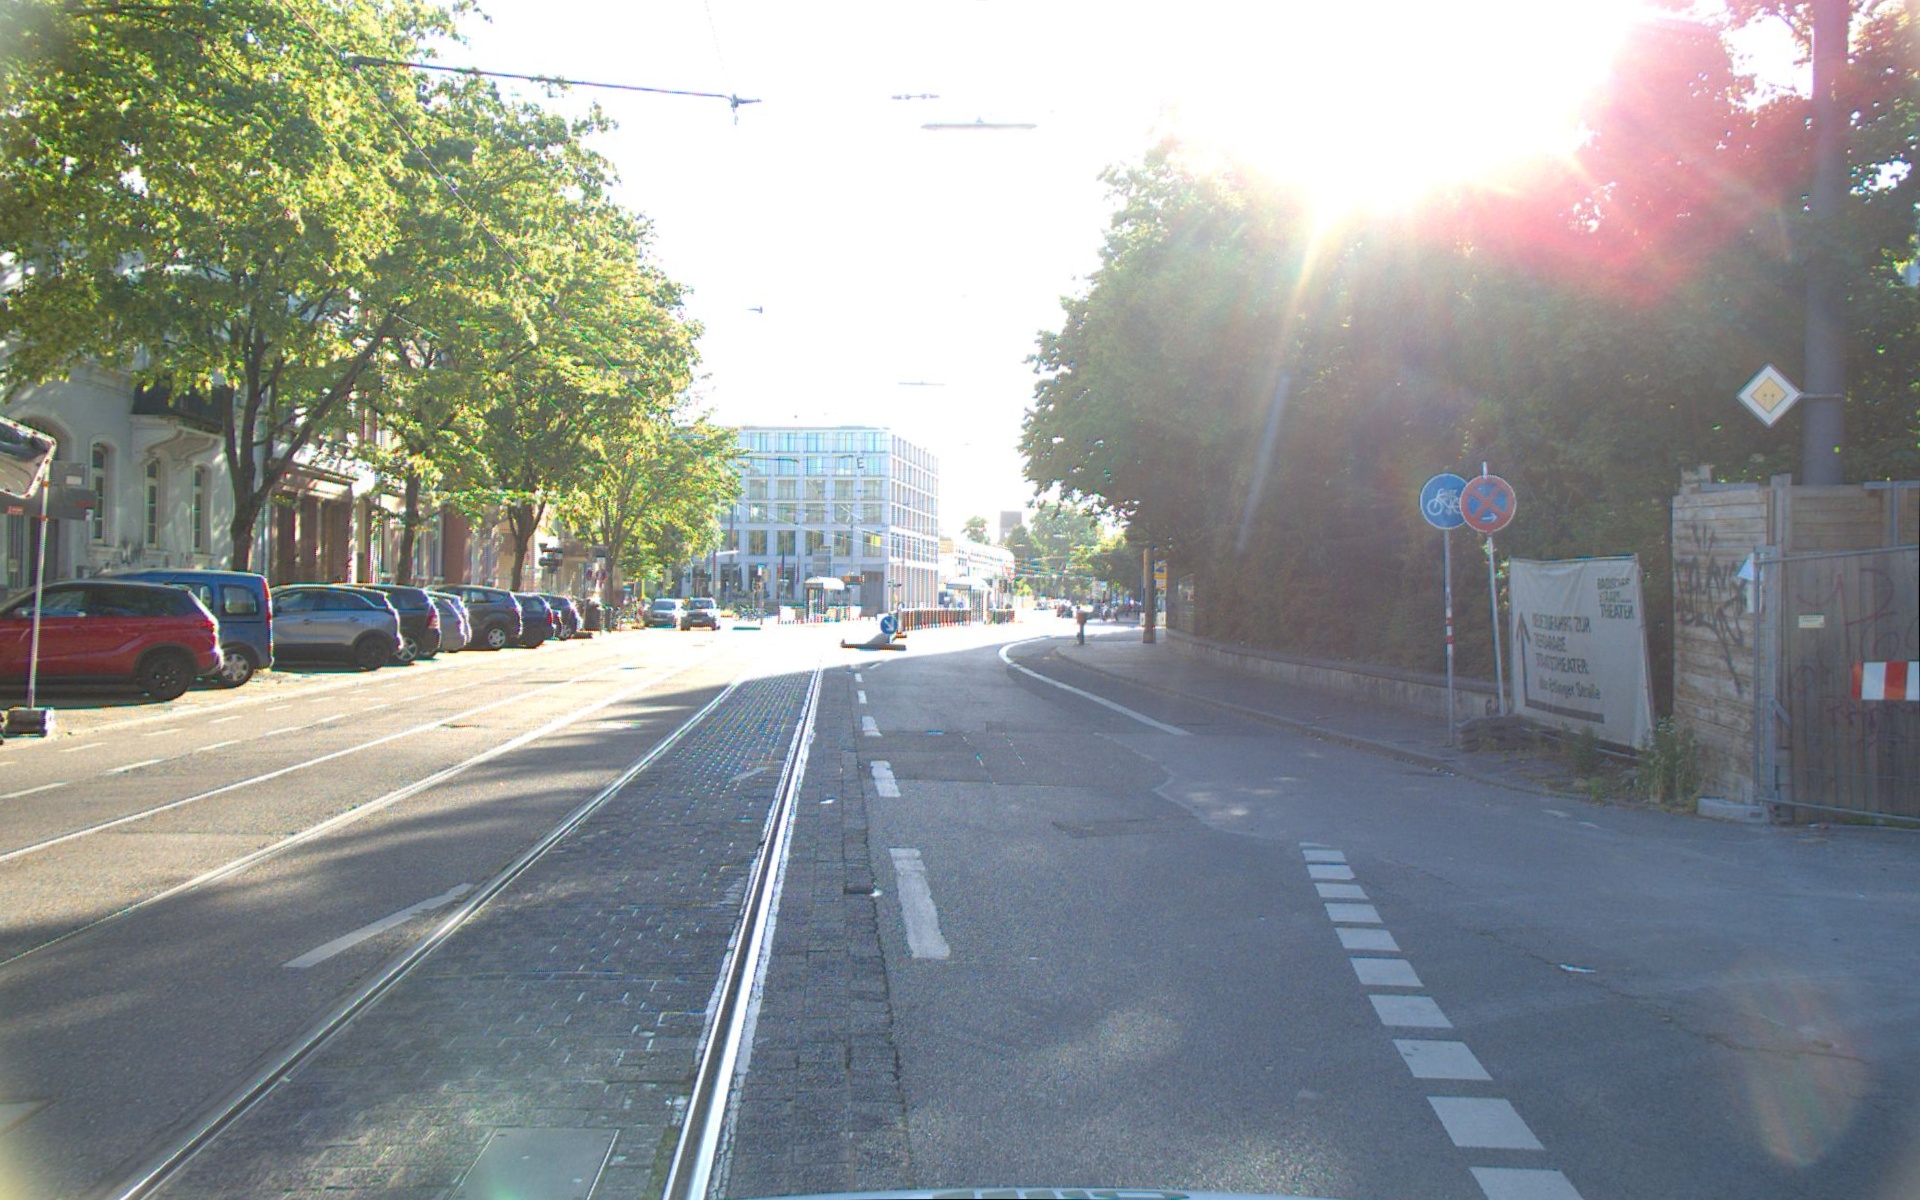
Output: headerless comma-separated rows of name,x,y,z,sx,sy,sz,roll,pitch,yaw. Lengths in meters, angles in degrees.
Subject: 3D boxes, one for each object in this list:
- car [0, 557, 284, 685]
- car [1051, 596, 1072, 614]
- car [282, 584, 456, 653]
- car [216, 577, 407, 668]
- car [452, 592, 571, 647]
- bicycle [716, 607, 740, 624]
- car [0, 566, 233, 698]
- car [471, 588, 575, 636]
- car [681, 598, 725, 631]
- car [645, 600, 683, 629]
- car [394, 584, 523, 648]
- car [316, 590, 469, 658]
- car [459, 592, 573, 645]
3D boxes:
car,-12.920,0.352,26.189,3.795,1.864,1.711,3,-1,-35
car,11.795,0.605,191.716,1.951,2.049,4.004,0,0,10
car,-12.839,0.399,35.964,3.341,1.444,1.390,1,0,-33
car,-12.859,0.443,32.852,3.341,1.727,1.390,1,0,-33
car,-13.417,0.585,49.475,3.232,1.613,1.458,1,0,-27
bicycle,-17.288,1.141,123.134,1.762,1.245,0.597,1,0,-13
car,-12.515,0.431,23.128,4.119,1.751,1.566,1,0,-32
car,-14.941,0.414,56.609,3.232,1.613,1.458,1,0,-27
car,-12.818,0.710,82.664,1.526,1.557,4.000,0,0,0
car,-15.971,0.750,89.353,1.542,1.516,3.997,1,0,-4
car,-13.887,0.434,45.845,3.232,1.728,1.458,1,0,-27
car,-13.259,0.551,38.649,3.232,1.510,1.458,1,0,-27
car,-13.878,0.581,51.721,3.232,1.613,1.458,1,0,-27
